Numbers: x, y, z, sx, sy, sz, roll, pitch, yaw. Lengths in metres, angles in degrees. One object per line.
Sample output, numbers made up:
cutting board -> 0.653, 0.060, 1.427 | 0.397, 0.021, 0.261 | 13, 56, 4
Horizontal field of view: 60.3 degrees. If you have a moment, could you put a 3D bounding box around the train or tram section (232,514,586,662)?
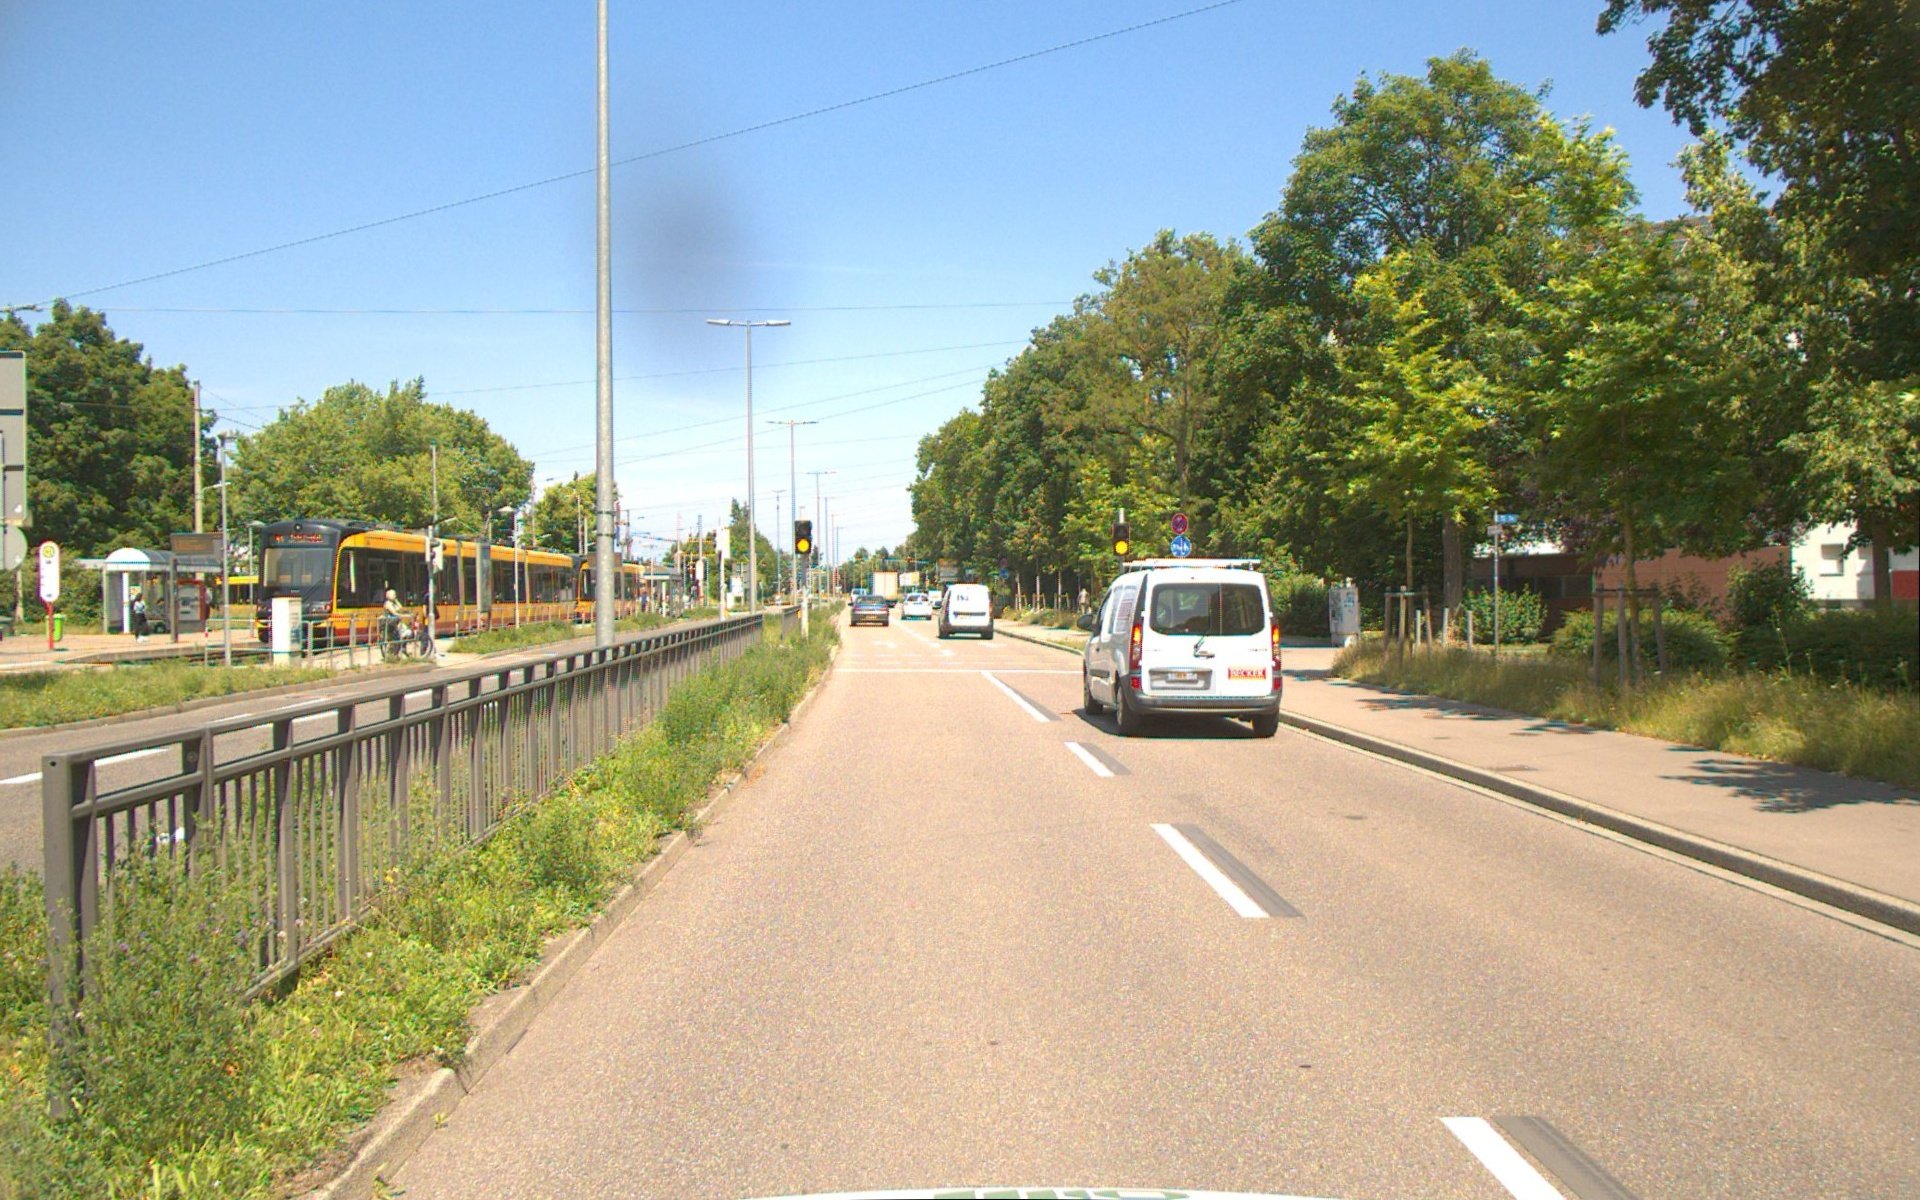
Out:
train or tram section -> -18.204, -0.340, 60.681 | 2.732, 3.732, 37.490 | 0, 0, -4

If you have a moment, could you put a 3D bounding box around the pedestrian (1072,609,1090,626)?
pedestrian -> 6.068, 0.867, 82.910 | 0.664, 0.862, 1.772 | 0, 0, -4

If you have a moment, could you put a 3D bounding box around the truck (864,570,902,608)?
truck -> -8.310, -1.170, 177.693 | 3.822, 3.879, 10.784 | -1, 0, -4

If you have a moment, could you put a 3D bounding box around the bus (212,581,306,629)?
bus -> -53.976, 0.374, 127.357 | 7.378, 3.629, 2.000 | 0, 0, 22

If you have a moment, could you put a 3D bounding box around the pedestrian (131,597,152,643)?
pedestrian -> -26.450, 0.643, 53.431 | 0.452, 1.461, 0.524 | 0, 0, -6

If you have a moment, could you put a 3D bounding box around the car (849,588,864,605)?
car -> -12.131, -0.425, 193.694 | 1.654, 1.930, 3.867 | -1, 0, -4

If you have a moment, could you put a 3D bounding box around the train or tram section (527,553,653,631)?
train or tram section -> -20.159, -0.391, 92.326 | 2.732, 3.732, 25.979 | 0, 0, -4

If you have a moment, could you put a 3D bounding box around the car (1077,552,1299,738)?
car -> 2.526, 0.463, 19.377 | 1.788, 1.914, 4.453 | 0, 0, -3

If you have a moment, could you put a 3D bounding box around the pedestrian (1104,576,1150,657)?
pedestrian -> 3.911, 0.383, 38.738 | 1.024, 1.882, 0.758 | 0, 0, 9

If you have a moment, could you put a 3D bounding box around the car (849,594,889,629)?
car -> -4.113, 0.488, 74.703 | 1.766, 1.512, 3.997 | 0, 0, -3

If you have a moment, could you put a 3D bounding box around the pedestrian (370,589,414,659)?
pedestrian -> -13.744, 0.578, 40.022 | 0.802, 1.657, 0.705 | 0, 0, 2

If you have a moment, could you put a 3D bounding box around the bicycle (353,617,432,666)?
bicycle -> -13.679, 1.002, 39.896 | 1.824, 1.177, 0.242 | 0, 0, 1

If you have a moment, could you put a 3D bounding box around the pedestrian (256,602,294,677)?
pedestrian -> -14.566, 0.835, 35.181 | 0.532, 1.568, 0.857 | -1, 0, -38

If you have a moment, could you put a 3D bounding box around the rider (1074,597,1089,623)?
rider -> 6.077, 0.500, 82.857 | 0.664, 1.304, 0.533 | 0, 0, -4

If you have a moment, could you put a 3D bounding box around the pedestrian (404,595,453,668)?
pedestrian -> -13.501, 0.803, 42.023 | 0.939, 1.828, 0.705 | 0, 0, 26

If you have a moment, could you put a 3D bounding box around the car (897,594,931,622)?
car -> -2.700, 0.453, 96.777 | 1.768, 1.567, 3.996 | 0, 0, -5

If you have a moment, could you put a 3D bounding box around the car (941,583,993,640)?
car -> 0.239, 0.343, 56.138 | 1.692, 1.845, 4.000 | 1, 1, 0
